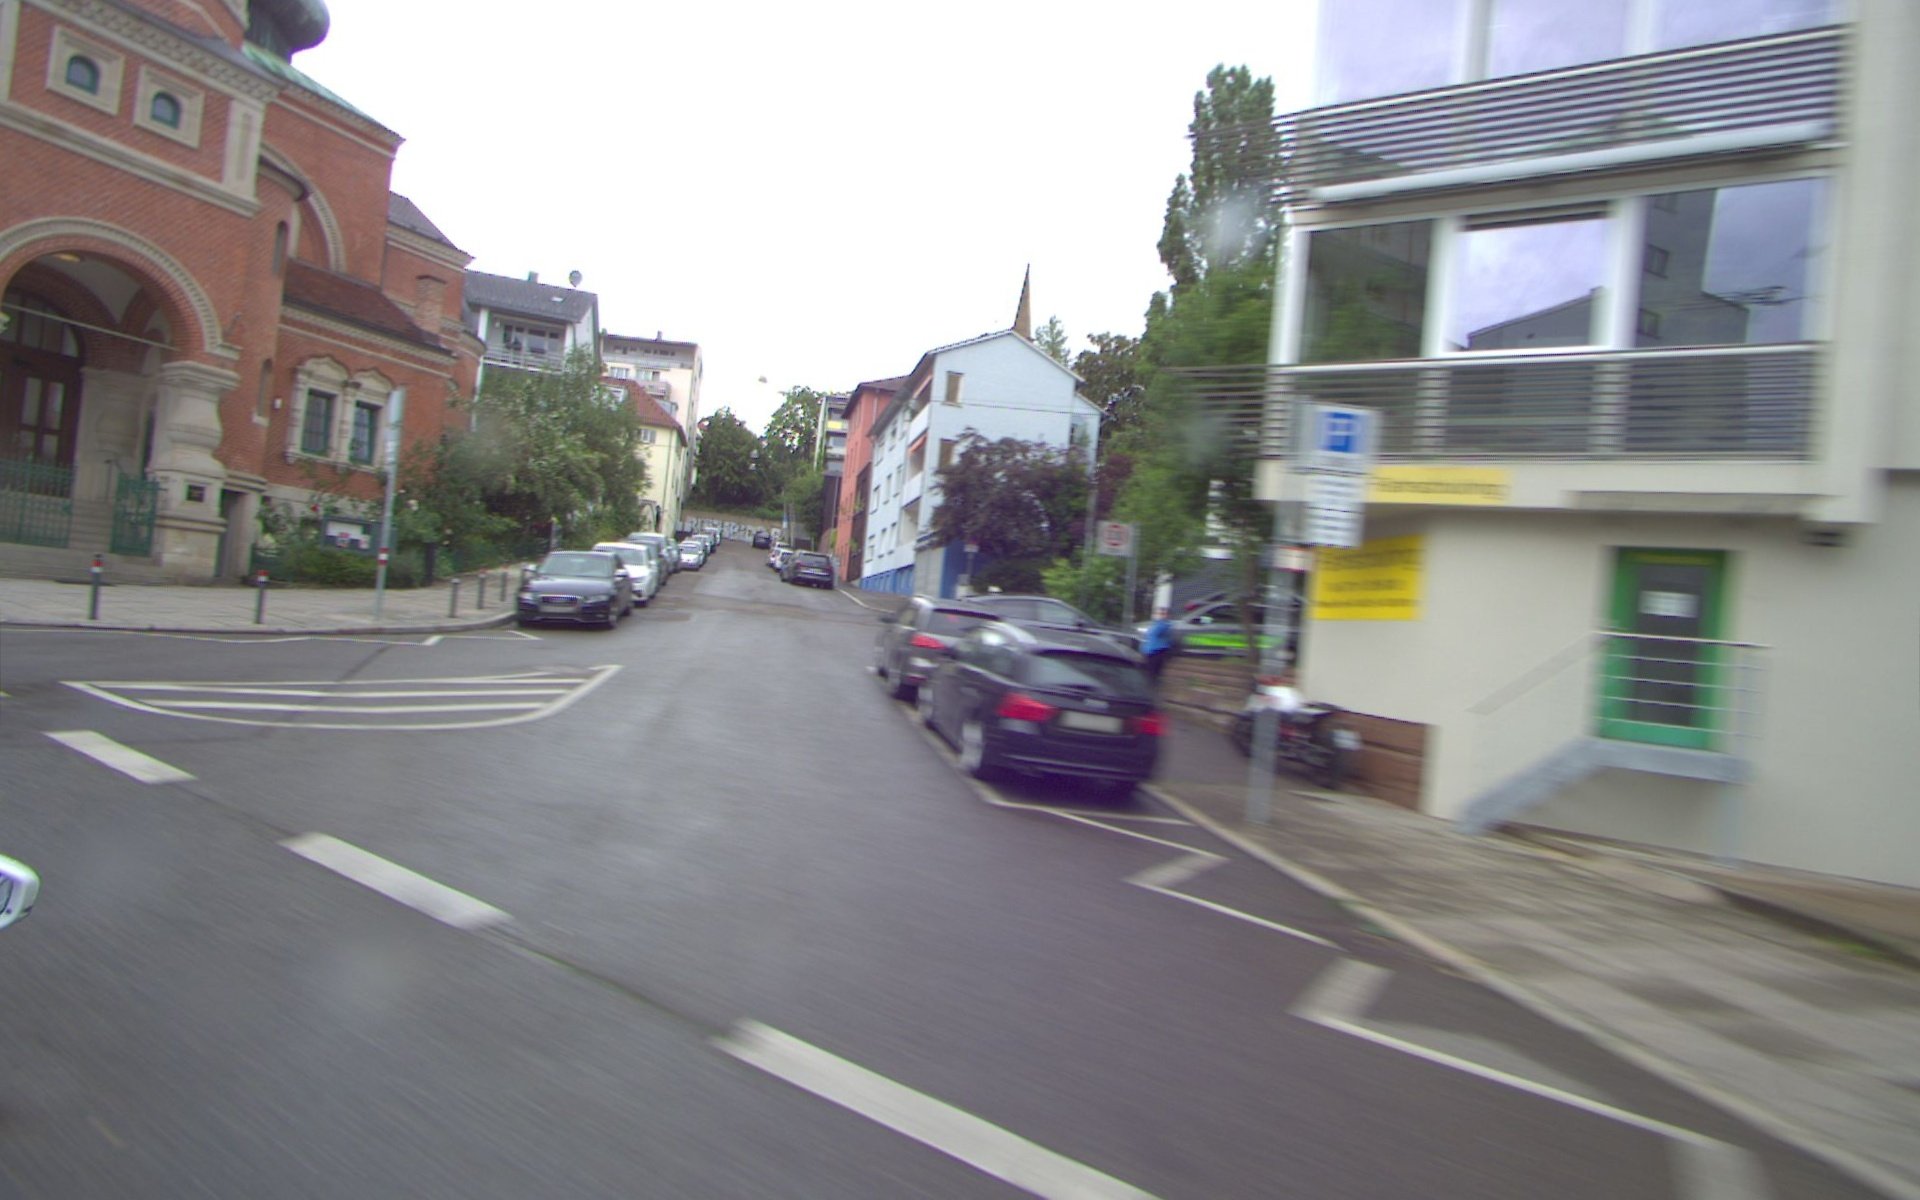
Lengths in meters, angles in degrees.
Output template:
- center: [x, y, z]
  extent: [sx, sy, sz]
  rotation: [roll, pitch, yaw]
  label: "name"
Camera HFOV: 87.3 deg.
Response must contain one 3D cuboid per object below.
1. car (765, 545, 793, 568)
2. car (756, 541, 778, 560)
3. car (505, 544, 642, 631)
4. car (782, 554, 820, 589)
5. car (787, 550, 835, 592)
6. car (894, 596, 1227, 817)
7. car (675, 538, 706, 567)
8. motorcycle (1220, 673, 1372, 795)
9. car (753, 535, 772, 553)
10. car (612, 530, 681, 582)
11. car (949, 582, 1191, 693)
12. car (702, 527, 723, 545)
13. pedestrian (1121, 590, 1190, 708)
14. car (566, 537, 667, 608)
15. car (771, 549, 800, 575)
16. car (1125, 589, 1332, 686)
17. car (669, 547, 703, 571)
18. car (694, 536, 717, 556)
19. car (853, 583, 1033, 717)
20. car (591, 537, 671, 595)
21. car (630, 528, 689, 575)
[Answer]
- center: [-13.404, -3.235, 74.768]
  extent: [1.798, 1.424, 3.989]
  rotation: [7, 2, -9]
  label: "car"
- center: [-18.028, -4.628, 93.888]
  extent: [1.800, 1.425, 3.984]
  rotation: [7, 4, -13]
  label: "car"
- center: [-7.758, -0.341, 20.616]
  extent: [1.910, 1.387, 4.462]
  rotation: [4, 3, -13]
  label: "car"
- center: [-8.515, -1.469, 53.730]
  extent: [1.798, 1.549, 3.994]
  rotation: [7, -1, -10]
  label: "car"
- center: [-6.469, -1.202, 43.391]
  extent: [1.798, 1.422, 3.995]
  rotation: [7, -1, -9]
  label: "car"
- center: [0.750, 0.926, 10.683]
  extent: [1.971, 1.476, 4.433]
  rotation: [8, 1, -15]
  label: "car"
- center: [-17.482, -3.100, 65.420]
  extent: [1.665, 1.600, 3.815]
  rotation: [6, 2, -13]
  label: "car"
- center: [3.804, 1.484, 11.626]
  extent: [0.543, 0.992, 2.207]
  rotation: [5, 2, -11]
  label: "motorcycle"
- center: [-20.104, -5.709, 102.293]
  extent: [1.799, 1.426, 3.983]
  rotation: [7, 4, -12]
  label: "car"
- center: [-11.182, -1.634, 36.131]
  extent: [1.911, 1.535, 3.831]
  rotation: [6, 3, -13]
  label: "car"
- center: [2.141, 0.671, 19.734]
  extent: [4.363, 1.639, 2.000]
  rotation: [5, 3, 7]
  label: "car"
- center: [-23.657, -6.131, 96.249]
  extent: [1.665, 1.290, 3.811]
  rotation: [6, 6, -13]
  label: "car"
- center: [3.256, 0.793, 16.842]
  extent: [0.765, 1.824, 1.021]
  rotation: [5, 3, -1]
  label: "pedestrian"
- center: [-8.666, -0.753, 25.680]
  extent: [1.915, 1.515, 3.916]
  rotation: [5, 3, -13]
  label: "car"
- center: [-12.123, -2.659, 70.155]
  extent: [1.798, 1.476, 3.988]
  rotation: [7, 3, -9]
  label: "car"
- center: [5.659, 0.806, 21.263]
  extent: [3.925, 1.563, 2.003]
  rotation: [5, -3, 18]
  label: "car"
- center: [-16.522, -2.497, 60.798]
  extent: [1.665, 1.221, 3.817]
  rotation: [6, 1, -13]
  label: "car"
- center: [-21.768, -4.645, 86.021]
  extent: [1.665, 1.223, 3.811]
  rotation: [6, 6, -13]
  label: "car"
- center: [-0.442, 0.654, 15.710]
  extent: [1.969, 1.476, 4.437]
  rotation: [6, 2, -11]
  label: "car"
- center: [-9.903, -1.086, 30.536]
  extent: [1.909, 1.464, 3.616]
  rotation: [2, 5, -13]
  label: "car"
- center: [-12.366, -1.948, 41.610]
  extent: [1.911, 1.525, 4.439]
  rotation: [6, -1, -13]
  label: "car"
